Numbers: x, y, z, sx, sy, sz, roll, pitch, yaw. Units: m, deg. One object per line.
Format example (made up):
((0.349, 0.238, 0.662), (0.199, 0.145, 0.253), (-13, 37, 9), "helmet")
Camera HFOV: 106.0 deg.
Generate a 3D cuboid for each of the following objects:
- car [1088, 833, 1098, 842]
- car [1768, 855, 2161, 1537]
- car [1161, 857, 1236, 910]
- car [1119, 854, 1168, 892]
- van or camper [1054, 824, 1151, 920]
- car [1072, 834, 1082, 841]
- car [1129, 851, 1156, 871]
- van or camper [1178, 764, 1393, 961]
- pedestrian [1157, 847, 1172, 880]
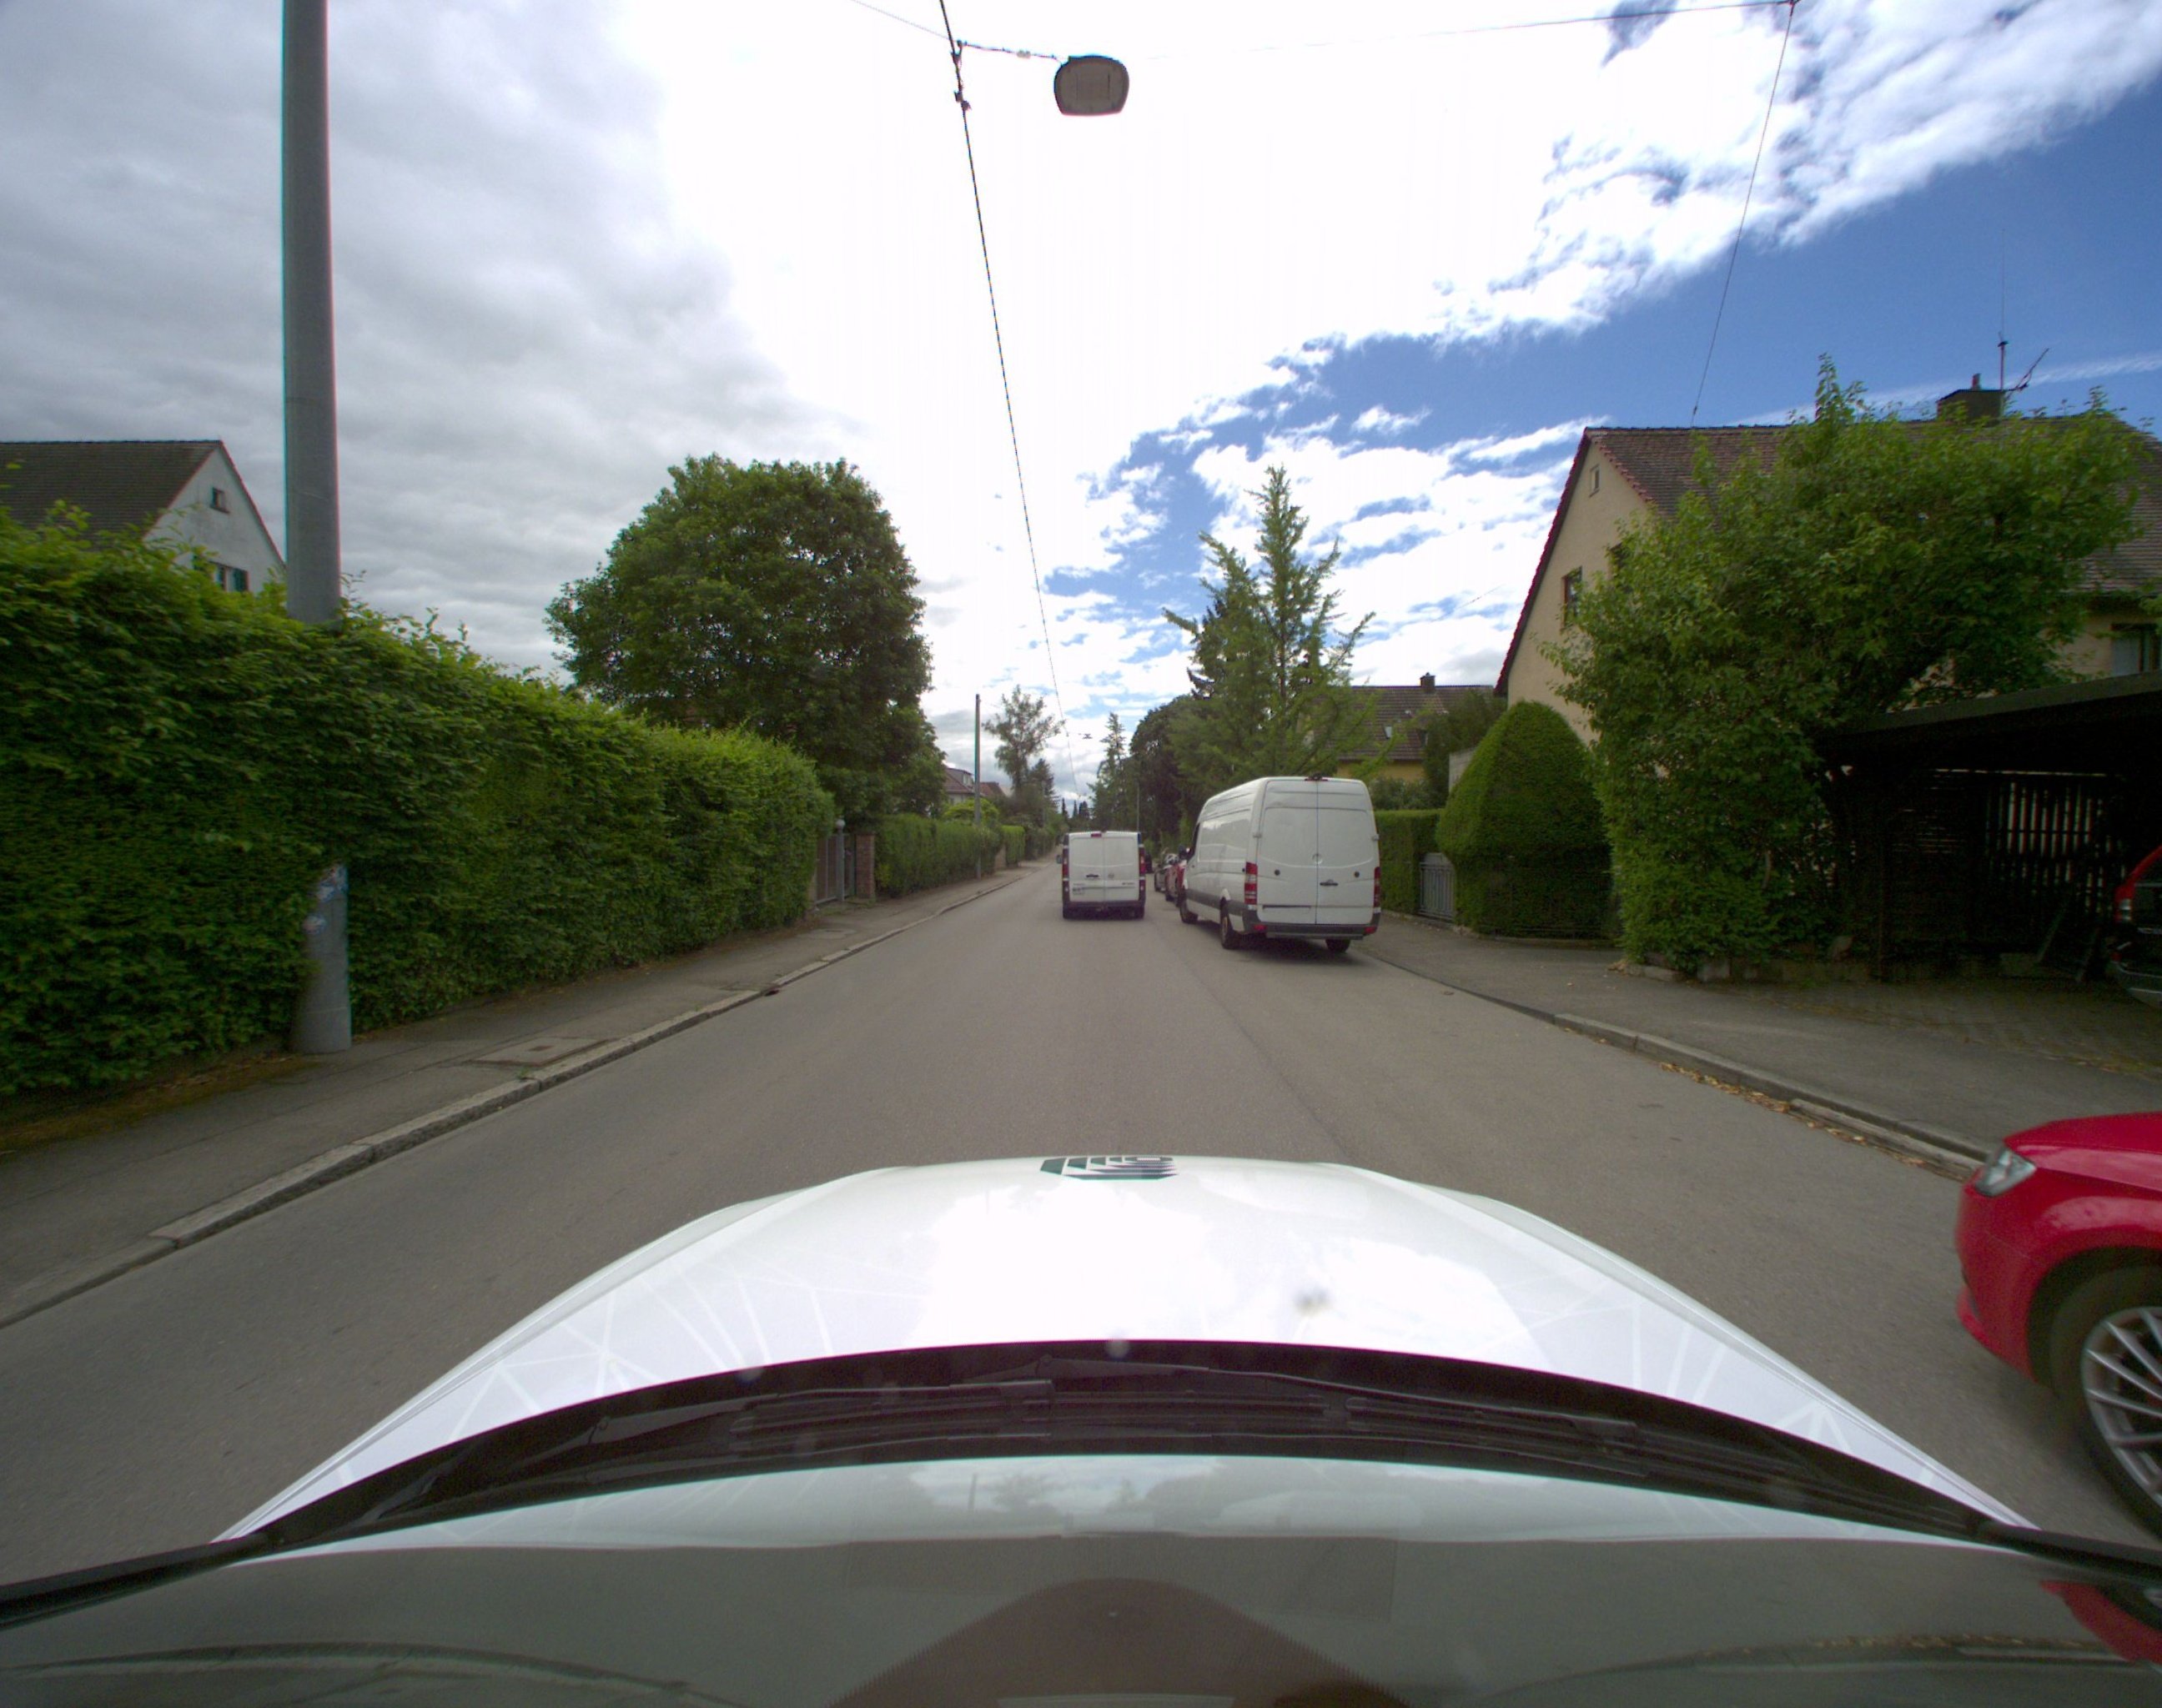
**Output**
((2.385, -3.197, 158.829), (1.771, 1.651, 3.643), (0, 2, -1), "car")
((3.237, 0.764, 0.648), (1.708, 1.467, 4.265), (0, 1, -2), "car")
((3.269, 0.776, 23.247), (1.526, 1.304, 4.030), (0, 1, -1), "car")
((2.351, 0.669, 31.236), (1.526, 1.304, 4.030), (0, 1, -1), "car")
((0.390, 0.303, 19.785), (1.920, 2.013, 4.824), (1, 2, -4), "van or camper")
((-0.962, -3.997, 197.515), (1.679, 1.475, 3.590), (0, 1, 8), "car")
((4.098, 0.470, 54.872), (1.526, 1.304, 3.226), (0, 1, -1), "car")
((3.202, 0.106, 14.409), (2.061, 2.674, 6.325), (1, 0, -1), "van or camper")
((4.065, 0.453, 39.695), (0.556, 1.559, 0.551), (0, 2, -13), "pedestrian")
